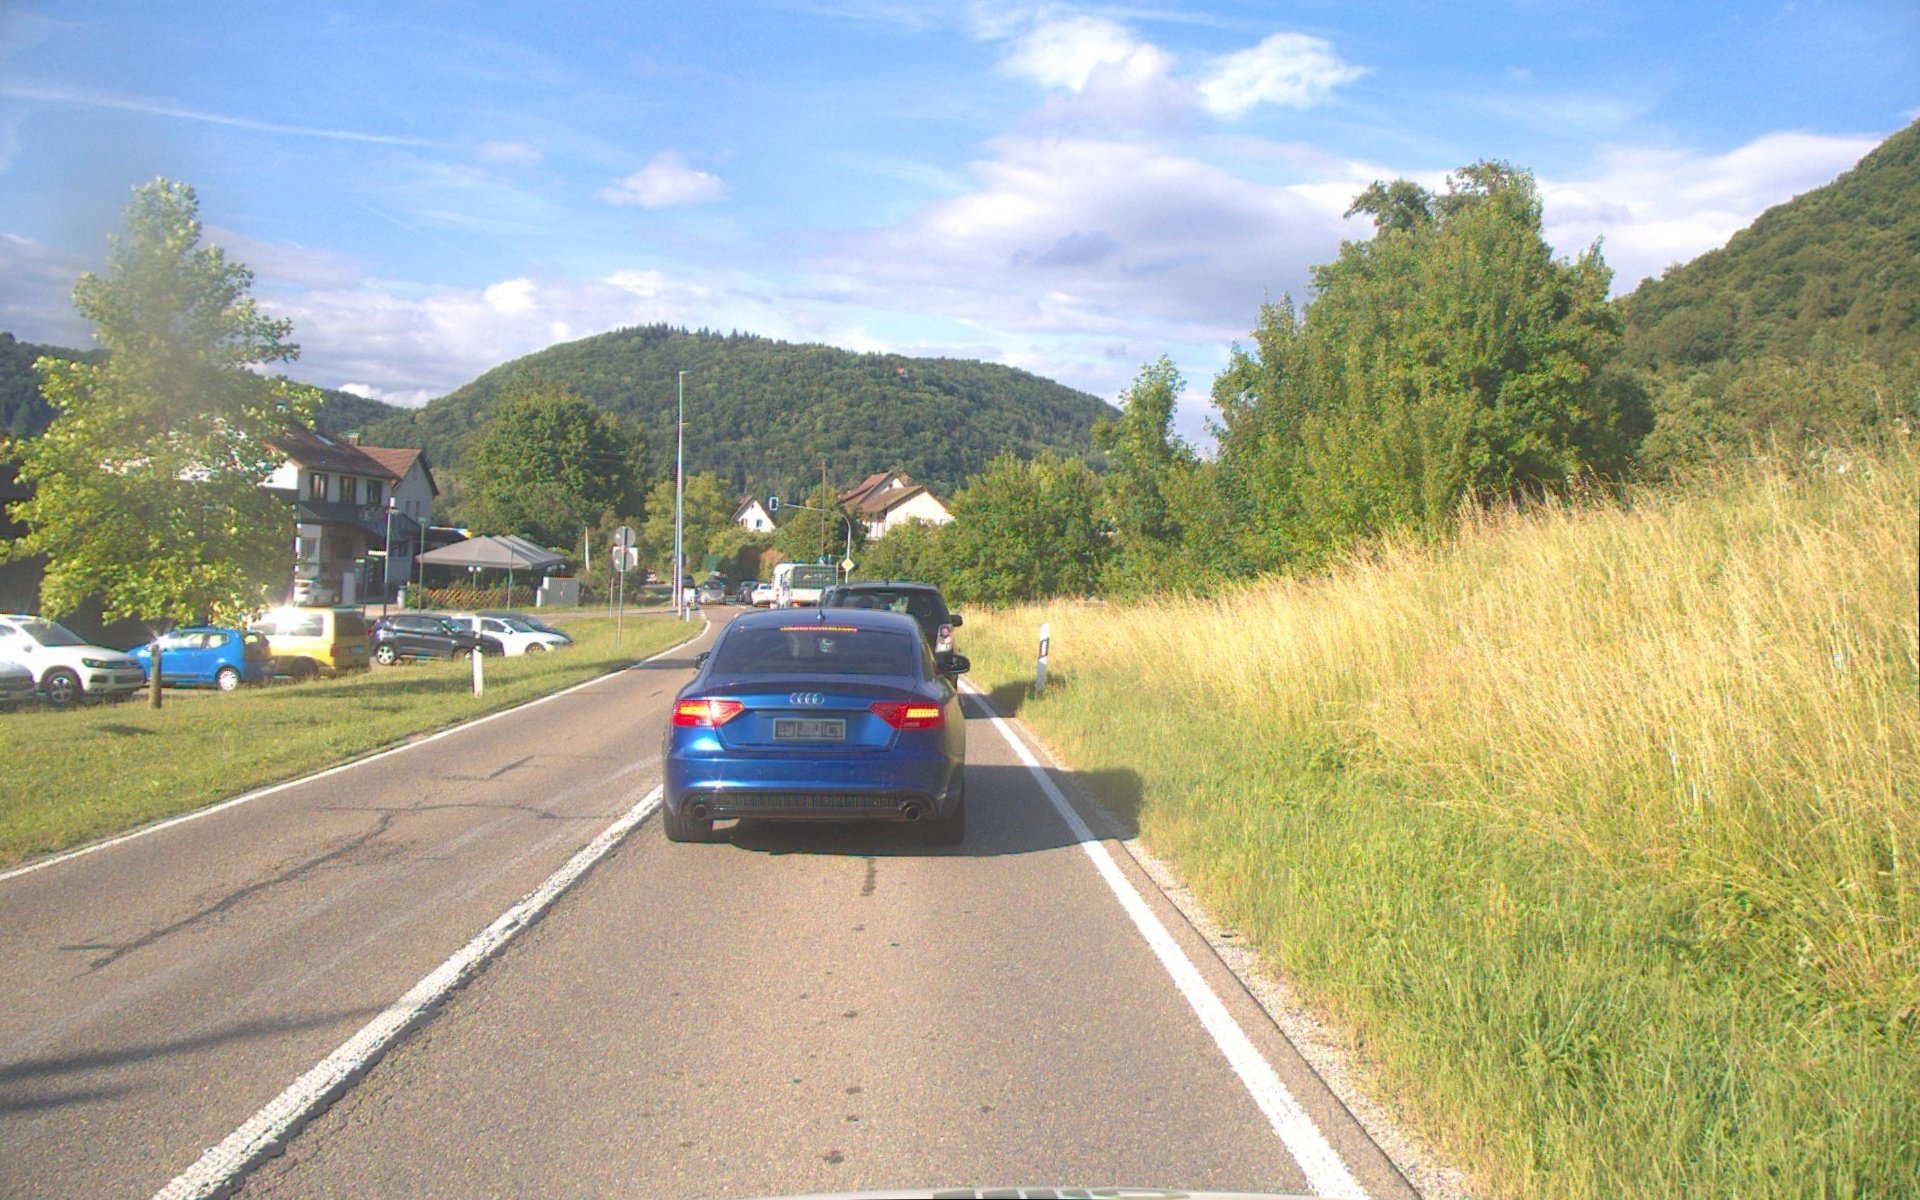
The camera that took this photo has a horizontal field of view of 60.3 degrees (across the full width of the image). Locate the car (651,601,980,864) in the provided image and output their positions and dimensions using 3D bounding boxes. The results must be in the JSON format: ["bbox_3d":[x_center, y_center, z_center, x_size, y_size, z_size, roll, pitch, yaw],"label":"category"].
[{"bbox_3d":[-0.789,0.723,10.898,1.759,1.412,3.999,0,0,-1],"label":"car"}]

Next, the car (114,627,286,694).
[{"bbox_3d":[-18.444,1.458,40.219,3.420,1.498,1.634,1,0,5],"label":"car"}]

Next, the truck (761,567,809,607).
[{"bbox_3d":[-9.152,-0.642,86.108,1.669,1.988,5.901,1,0,-14],"label":"truck"}]

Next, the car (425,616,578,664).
[{"bbox_3d":[-15.881,1.363,57.352,4.711,1.520,1.882,1,0,7],"label":"car"}]

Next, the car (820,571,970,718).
[{"bbox_3d":[-0.769,0.526,21.144,1.710,1.668,3.999,1,0,-1],"label":"car"}]

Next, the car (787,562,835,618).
[{"bbox_3d":[-6.253,-0.395,69.247,1.714,2.234,3.992,1,0,-9],"label":"car"}]

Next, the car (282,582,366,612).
[{"bbox_3d":[-32.011,-0.140,83.330,1.727,1.467,4.001,1,0,19],"label":"car"}]

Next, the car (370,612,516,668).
[{"bbox_3d":[-16.462,1.259,52.790,3.939,1.666,2.001,1,0,7],"label":"car"}]

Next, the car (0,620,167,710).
[{"bbox_3d":[-19.277,1.321,34.577,4.442,1.733,2.001,1,0,7],"label":"car"}]

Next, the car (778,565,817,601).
[{"bbox_3d":[-8.006,-0.826,81.268,1.714,1.668,3.992,1,0,-9],"label":"car"}]

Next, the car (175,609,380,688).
[{"bbox_3d":[-17.633,1.228,42.818,4.512,1.900,2.002,1,0,10],"label":"car"}]

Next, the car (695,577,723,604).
[{"bbox_3d":[-16.141,-0.574,106.407,1.703,1.691,3.463,1,0,-10],"label":"car"}]

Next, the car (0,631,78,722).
[{"bbox_3d":[-19.343,1.377,31.149,4.442,1.582,2.001,1,0,7],"label":"car"}]

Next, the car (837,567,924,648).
[{"bbox_3d":[-1.706,0.166,36.773,1.768,1.668,4.462,1,0,-1],"label":"car"}]
